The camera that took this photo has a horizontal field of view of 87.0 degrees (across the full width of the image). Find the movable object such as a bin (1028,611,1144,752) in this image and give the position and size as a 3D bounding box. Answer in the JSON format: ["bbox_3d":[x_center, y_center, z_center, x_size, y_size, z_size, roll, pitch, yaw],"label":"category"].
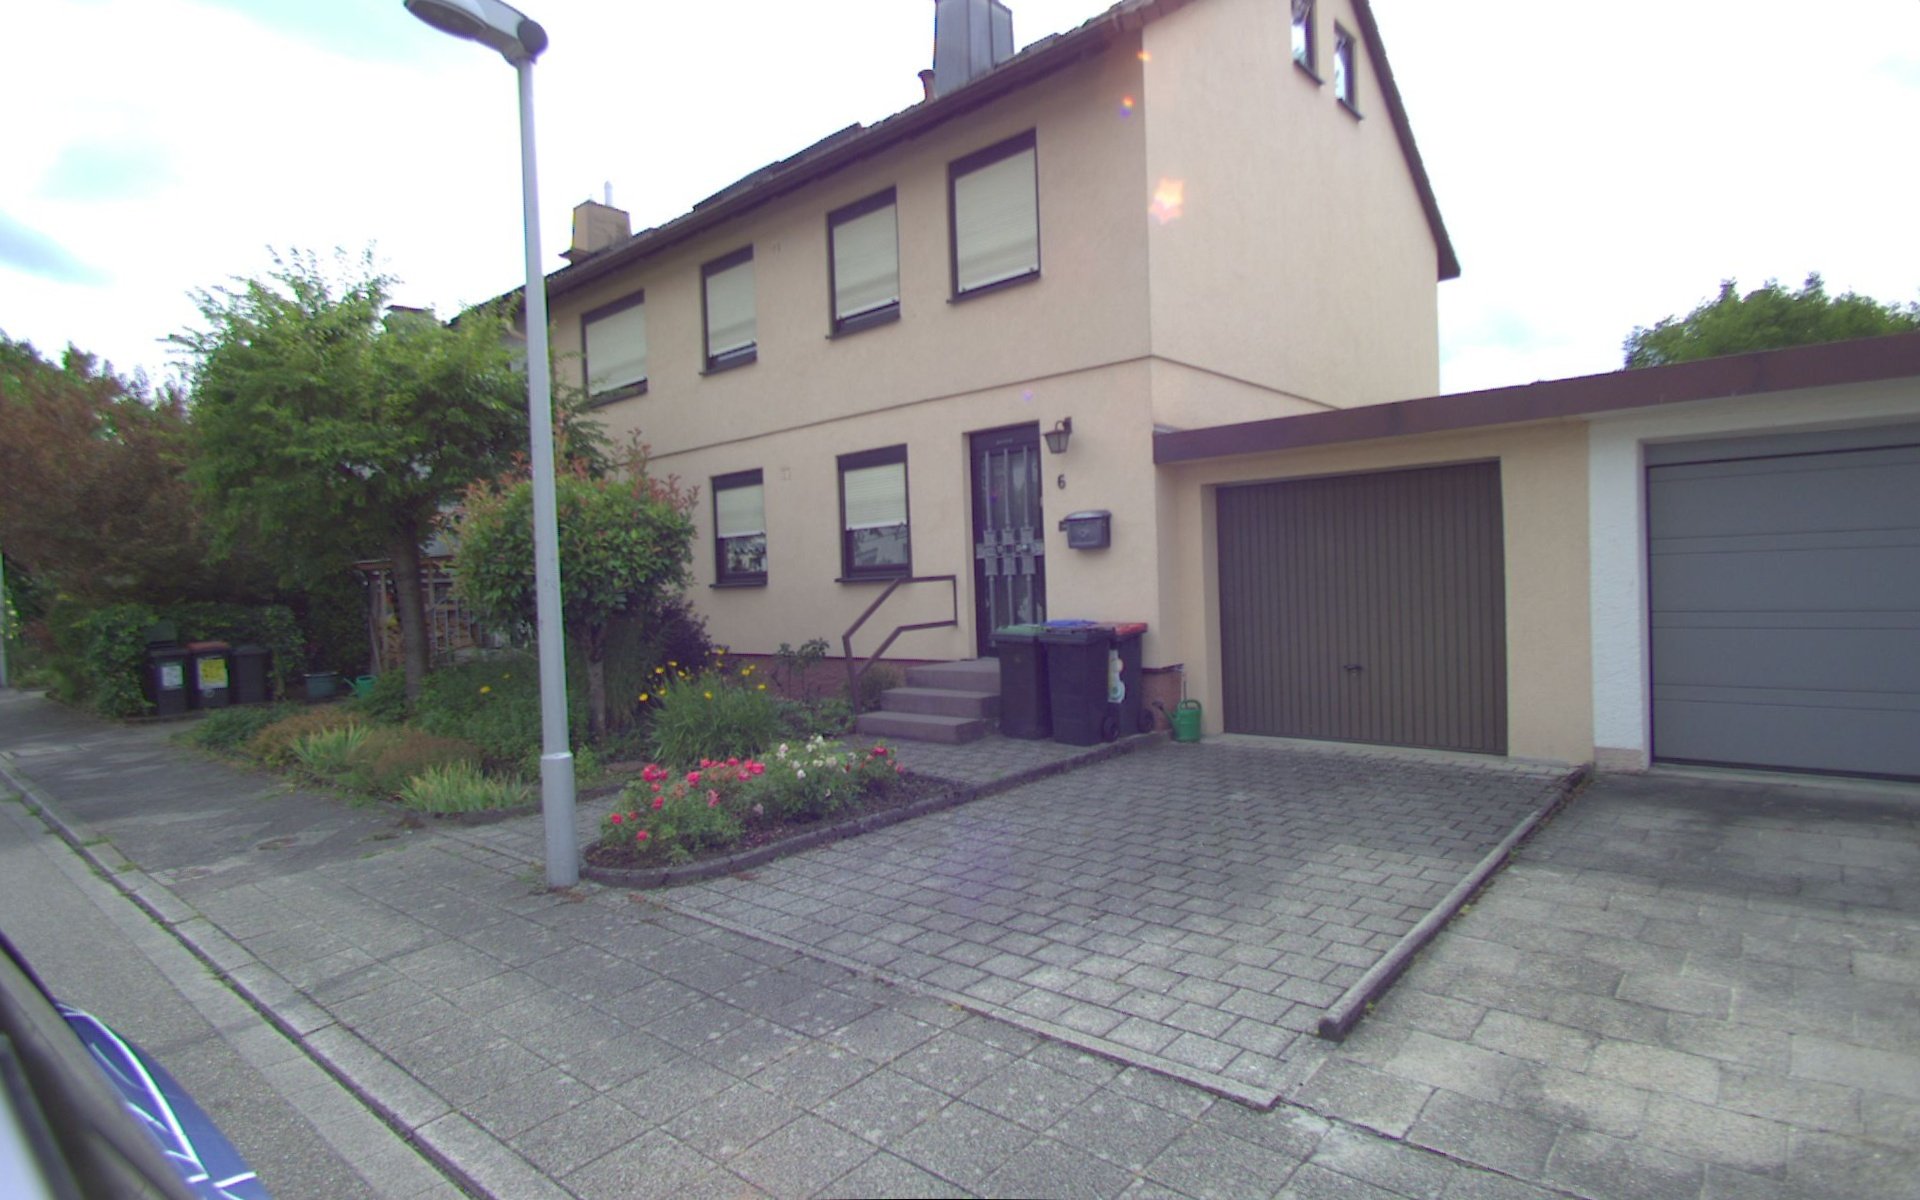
[{"bbox_3d":[0.988,0.612,7.924,0.632,1.029,0.646,-2,0,41],"label":"movable object such as a bin"}]

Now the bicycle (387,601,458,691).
[{"bbox_3d":[-8.917,0.748,16.766,1.848,1.406,0.427,-2,0,43],"label":"bicycle"}]

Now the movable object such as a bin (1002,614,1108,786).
[{"bbox_3d":[0.830,0.834,8.800,0.632,1.395,0.646,-2,-1,41],"label":"movable object such as a bin"}]

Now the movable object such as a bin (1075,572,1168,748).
[{"bbox_3d":[1.331,0.478,8.353,0.610,1.395,0.406,-2,-1,41],"label":"movable object such as a bin"}]

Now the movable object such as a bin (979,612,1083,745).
[{"bbox_3d":[0.580,0.617,8.230,0.541,1.010,0.646,-2,0,41],"label":"movable object such as a bin"}]
